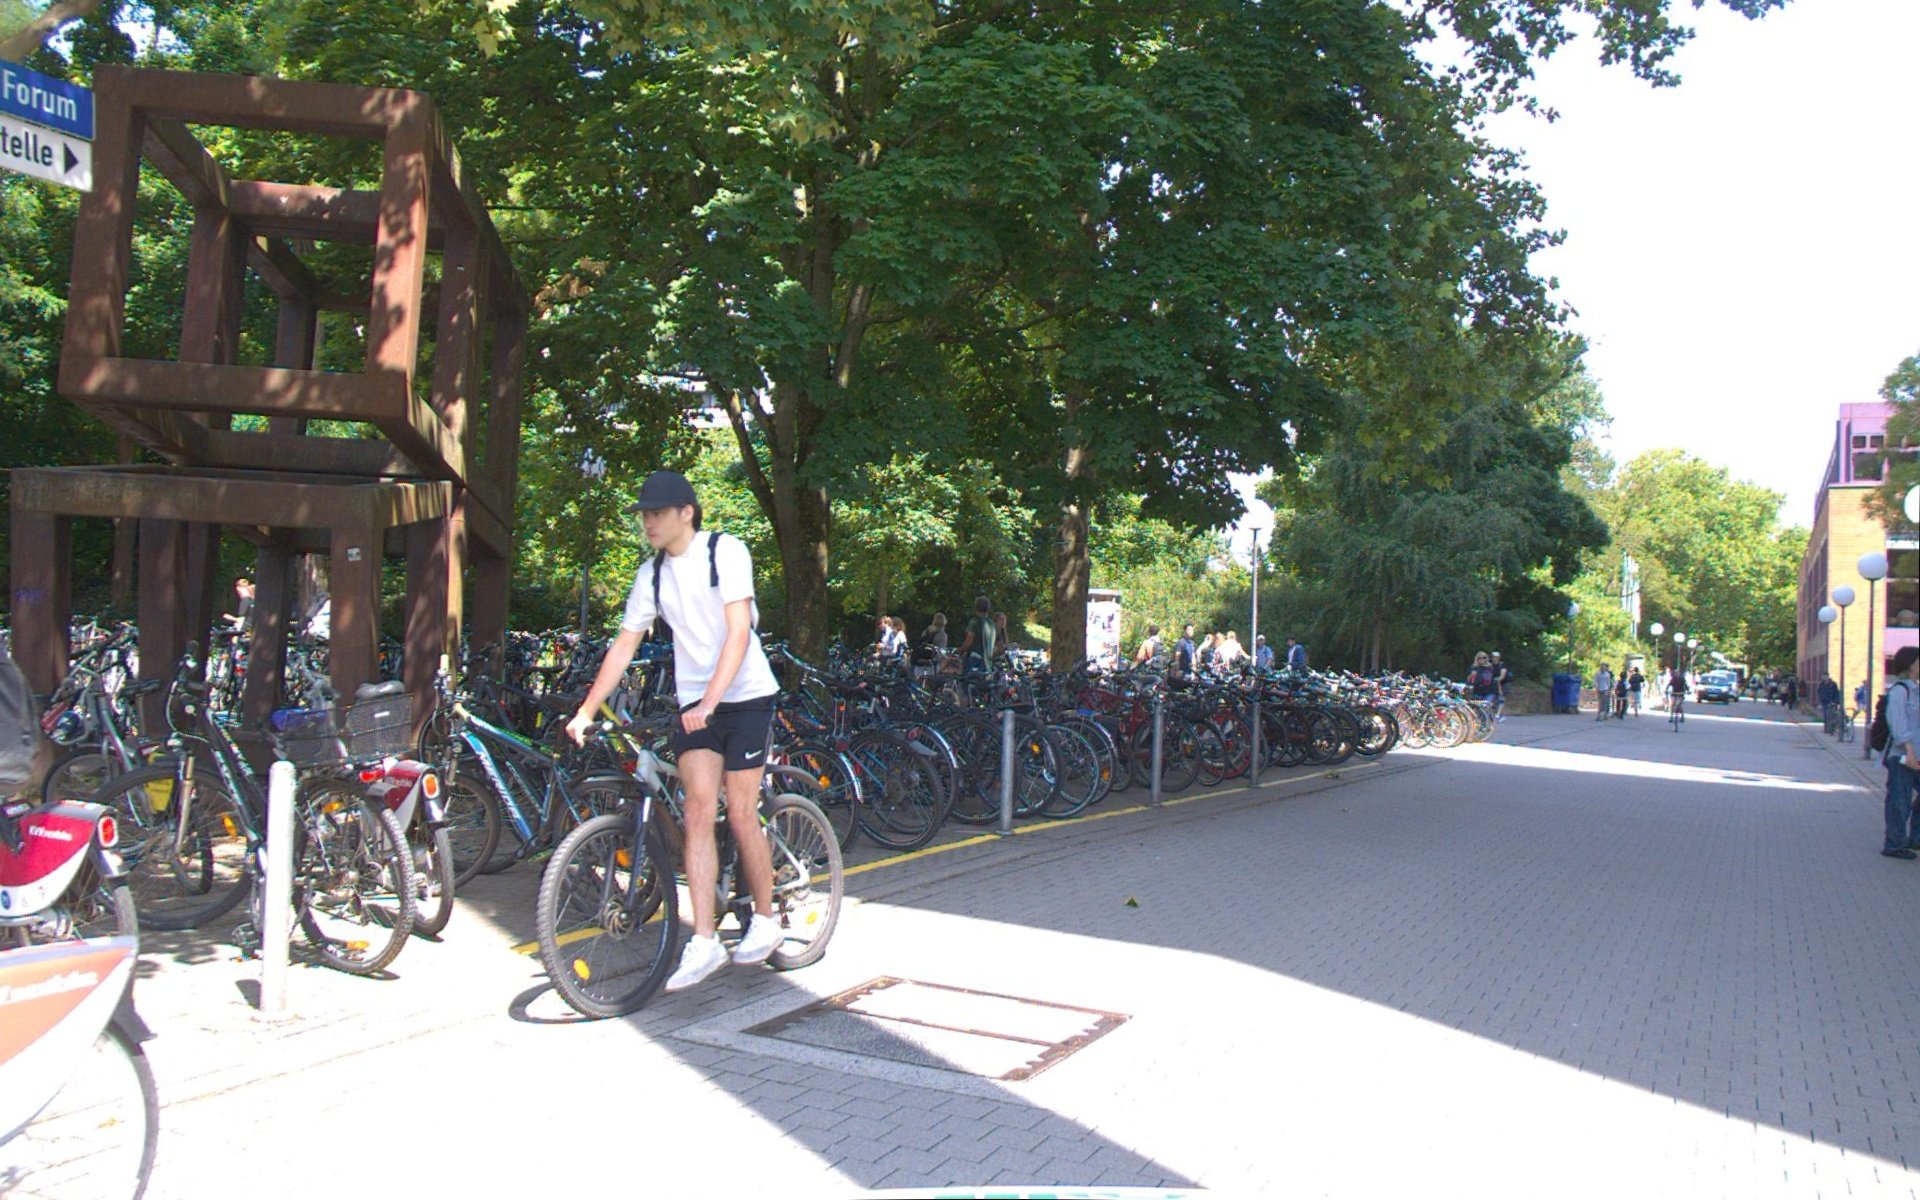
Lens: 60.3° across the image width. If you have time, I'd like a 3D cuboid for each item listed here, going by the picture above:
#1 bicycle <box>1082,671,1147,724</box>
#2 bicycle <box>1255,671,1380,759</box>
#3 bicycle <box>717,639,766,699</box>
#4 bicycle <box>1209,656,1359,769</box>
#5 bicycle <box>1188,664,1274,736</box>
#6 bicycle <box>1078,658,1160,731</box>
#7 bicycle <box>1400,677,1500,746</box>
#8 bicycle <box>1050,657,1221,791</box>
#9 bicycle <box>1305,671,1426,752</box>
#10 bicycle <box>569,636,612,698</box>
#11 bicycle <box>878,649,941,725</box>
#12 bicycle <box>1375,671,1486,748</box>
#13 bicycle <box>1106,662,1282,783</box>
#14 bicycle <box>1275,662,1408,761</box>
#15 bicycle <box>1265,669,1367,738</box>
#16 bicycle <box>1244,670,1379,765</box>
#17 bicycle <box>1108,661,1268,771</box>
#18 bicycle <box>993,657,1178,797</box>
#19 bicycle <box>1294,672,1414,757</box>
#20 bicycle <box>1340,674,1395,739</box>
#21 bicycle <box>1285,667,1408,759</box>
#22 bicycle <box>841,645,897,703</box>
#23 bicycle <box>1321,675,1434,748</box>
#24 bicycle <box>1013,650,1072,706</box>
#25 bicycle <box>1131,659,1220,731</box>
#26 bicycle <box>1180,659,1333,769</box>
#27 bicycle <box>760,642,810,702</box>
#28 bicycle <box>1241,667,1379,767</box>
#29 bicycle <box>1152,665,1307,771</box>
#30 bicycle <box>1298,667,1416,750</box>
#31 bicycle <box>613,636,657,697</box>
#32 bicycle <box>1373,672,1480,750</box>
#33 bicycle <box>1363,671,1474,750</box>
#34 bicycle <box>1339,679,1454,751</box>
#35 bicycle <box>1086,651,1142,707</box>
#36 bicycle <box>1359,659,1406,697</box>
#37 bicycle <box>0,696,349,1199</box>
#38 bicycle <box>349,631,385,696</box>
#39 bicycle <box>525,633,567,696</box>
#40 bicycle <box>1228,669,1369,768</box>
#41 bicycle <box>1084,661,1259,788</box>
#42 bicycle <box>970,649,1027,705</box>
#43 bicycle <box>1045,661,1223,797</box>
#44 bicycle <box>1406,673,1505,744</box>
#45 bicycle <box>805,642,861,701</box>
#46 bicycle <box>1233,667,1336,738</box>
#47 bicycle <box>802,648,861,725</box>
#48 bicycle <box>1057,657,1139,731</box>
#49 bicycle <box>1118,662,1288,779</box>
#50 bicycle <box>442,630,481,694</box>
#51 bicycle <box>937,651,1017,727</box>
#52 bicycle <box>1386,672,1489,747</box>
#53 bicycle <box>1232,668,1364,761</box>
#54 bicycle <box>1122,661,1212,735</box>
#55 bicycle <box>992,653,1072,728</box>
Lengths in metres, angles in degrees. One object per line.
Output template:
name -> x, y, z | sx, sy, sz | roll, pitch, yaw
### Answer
bicycle -> 3.611, 2.275, 38.803 | 0.468, 1.130, 1.756 | 4, -2, -34
bicycle -> 5.034, 1.602, 23.277 | 1.658, 1.127, 0.566 | 2, -2, 15
bicycle -> -4.353, 1.358, 32.880 | 0.508, 1.130, 1.766 | 3, -2, -21
bicycle -> 3.952, 1.357, 20.180 | 1.699, 1.257, 0.497 | 2, -2, 19
bicycle -> 4.507, 1.660, 27.635 | 0.467, 1.102, 1.684 | 3, -2, -28
bicycle -> 2.590, 1.533, 27.130 | 0.467, 1.102, 1.684 | 3, -2, -27
bicycle -> 8.720, 1.973, 29.450 | 1.659, 1.110, 0.474 | 2, -2, 21
bicycle -> 1.669, 1.163, 15.851 | 1.600, 1.164, 0.494 | 1, -2, 41
bicycle -> 6.065, 1.664, 24.783 | 1.660, 1.127, 0.474 | 3, -2, -1
bicycle -> -7.175, 1.292, 32.078 | 0.508, 1.130, 1.766 | 3, -2, -21
bicycle -> -0.794, 1.331, 25.585 | 0.465, 1.102, 1.690 | 3, -2, -19
bicycle -> 7.964, 1.837, 28.032 | 1.748, 1.189, 0.471 | 1, -2, 40
bicycle -> 2.421, 1.254, 17.176 | 1.701, 1.127, 0.496 | 2, -2, 27
bicycle -> 5.144, 1.489, 22.298 | 1.659, 1.219, 0.537 | 2, -2, 18
bicycle -> 6.175, 1.790, 28.733 | 1.667, 1.102, 0.472 | 1, -2, 39
bicycle -> 4.566, 1.510, 21.499 | 1.658, 1.127, 0.474 | 2, -2, 15
bicycle -> 2.541, 1.291, 18.537 | 1.699, 1.127, 0.497 | 2, -2, 2
bicycle -> 1.113, 1.112, 14.849 | 1.600, 1.127, 0.560 | 1, -2, 41
bicycle -> 5.747, 1.658, 24.125 | 1.658, 1.127, 0.583 | 2, -2, 15
bicycle -> 7.267, 1.879, 29.427 | 0.497, 1.102, 1.696 | 1, -2, 29
bicycle -> 5.527, 1.598, 23.647 | 1.658, 1.208, 0.474 | 2, -2, 15
bicycle -> -1.891, 1.511, 34.144 | 0.509, 1.130, 1.764 | 3, -2, -25
bicycle -> 6.640, 1.766, 26.298 | 1.662, 1.080, 0.473 | 3, -2, -9
bicycle -> 1.758, 1.670, 35.644 | 0.466, 1.130, 1.764 | 3, -2, -25
bicycle -> 3.566, 1.568, 27.472 | 0.468, 1.102, 1.681 | 4, -2, -32
bicycle -> 3.538, 1.340, 19.761 | 1.701, 1.199, 0.496 | 2, -2, 26
bicycle -> -3.528, 1.426, 33.194 | 0.508, 1.130, 1.766 | 3, -2, -21
bicycle -> 4.457, 1.478, 21.043 | 1.658, 1.165, 0.474 | 2, -2, 15
bicycle -> 3.130, 1.355, 19.192 | 1.698, 1.127, 0.497 | 2, -2, 14
bicycle -> 6.057, 1.652, 25.250 | 1.660, 1.178, 0.474 | 3, -2, -1
bicycle -> -6.403, 1.300, 32.543 | 0.508, 1.130, 1.766 | 3, -2, -21
bicycle -> 7.706, 1.822, 27.367 | 1.658, 1.189, 0.474 | 2, -2, 14
bicycle -> 7.447, 1.783, 26.892 | 1.658, 1.189, 0.474 | 2, -2, 10
bicycle -> 6.812, 1.799, 25.815 | 1.662, 1.036, 0.473 | 3, -2, -9
bicycle -> 3.345, 1.710, 36.030 | 0.465, 1.130, 1.767 | 3, -2, -20
bicycle -> 12.586, 2.323, 49.225 | 1.685, 1.065, 0.467 | 5, -1, -43
bicycle -> -2.113, 0.782, 2.839 | 0.663, 1.160, 1.876 | 2, 0, 41
bicycle -> -10.922, 1.156, 30.444 | 0.508, 1.130, 1.766 | 3, -2, -21
bicycle -> -7.944, 1.219, 31.699 | 0.508, 1.130, 1.766 | 3, -2, -21
bicycle -> 4.215, 1.462, 20.579 | 1.658, 1.127, 0.497 | 2, -2, 16
bicycle -> 2.074, 1.210, 16.376 | 0.570, 1.127, 1.712 | 4, -2, -44
bicycle -> 0.813, 1.643, 35.524 | 0.466, 1.130, 1.764 | 3, -2, -25
bicycle -> 1.585, 1.160, 15.210 | 1.600, 1.127, 0.494 | 1, -2, 41
bicycle -> 8.946, 1.956, 29.863 | 1.658, 1.179, 0.474 | 2, -2, 18
bicycle -> -2.589, 1.445, 33.631 | 0.509, 1.130, 1.764 | 3, -2, -25
bicycle -> 5.459, 1.715, 27.896 | 1.668, 1.102, 0.471 | 1, -2, 40
bicycle -> -1.982, 1.307, 25.331 | 0.465, 1.102, 1.690 | 3, -2, -19
bicycle -> 2.221, 1.507, 26.823 | 0.467, 1.102, 1.684 | 3, -2, -27
bicycle -> 2.611, 1.275, 17.773 | 1.700, 1.146, 0.497 | 2, -2, 22
bicycle -> -9.410, 1.157, 31.168 | 0.508, 1.130, 1.766 | 3, -2, -21
bicycle -> 0.247, 1.373, 25.773 | 0.467, 1.102, 1.684 | 3, -2, -27
bicycle -> 8.311, 1.896, 28.808 | 1.659, 1.189, 0.474 | 2, -2, 21
bicycle -> 4.491, 1.512, 21.955 | 1.658, 1.127, 0.474 | 2, -2, 15
bicycle -> 3.346, 1.584, 26.897 | 0.468, 1.102, 1.681 | 4, -2, -32
bicycle -> 1.134, 1.428, 26.422 | 0.467, 1.102, 1.684 | 3, -2, -27
